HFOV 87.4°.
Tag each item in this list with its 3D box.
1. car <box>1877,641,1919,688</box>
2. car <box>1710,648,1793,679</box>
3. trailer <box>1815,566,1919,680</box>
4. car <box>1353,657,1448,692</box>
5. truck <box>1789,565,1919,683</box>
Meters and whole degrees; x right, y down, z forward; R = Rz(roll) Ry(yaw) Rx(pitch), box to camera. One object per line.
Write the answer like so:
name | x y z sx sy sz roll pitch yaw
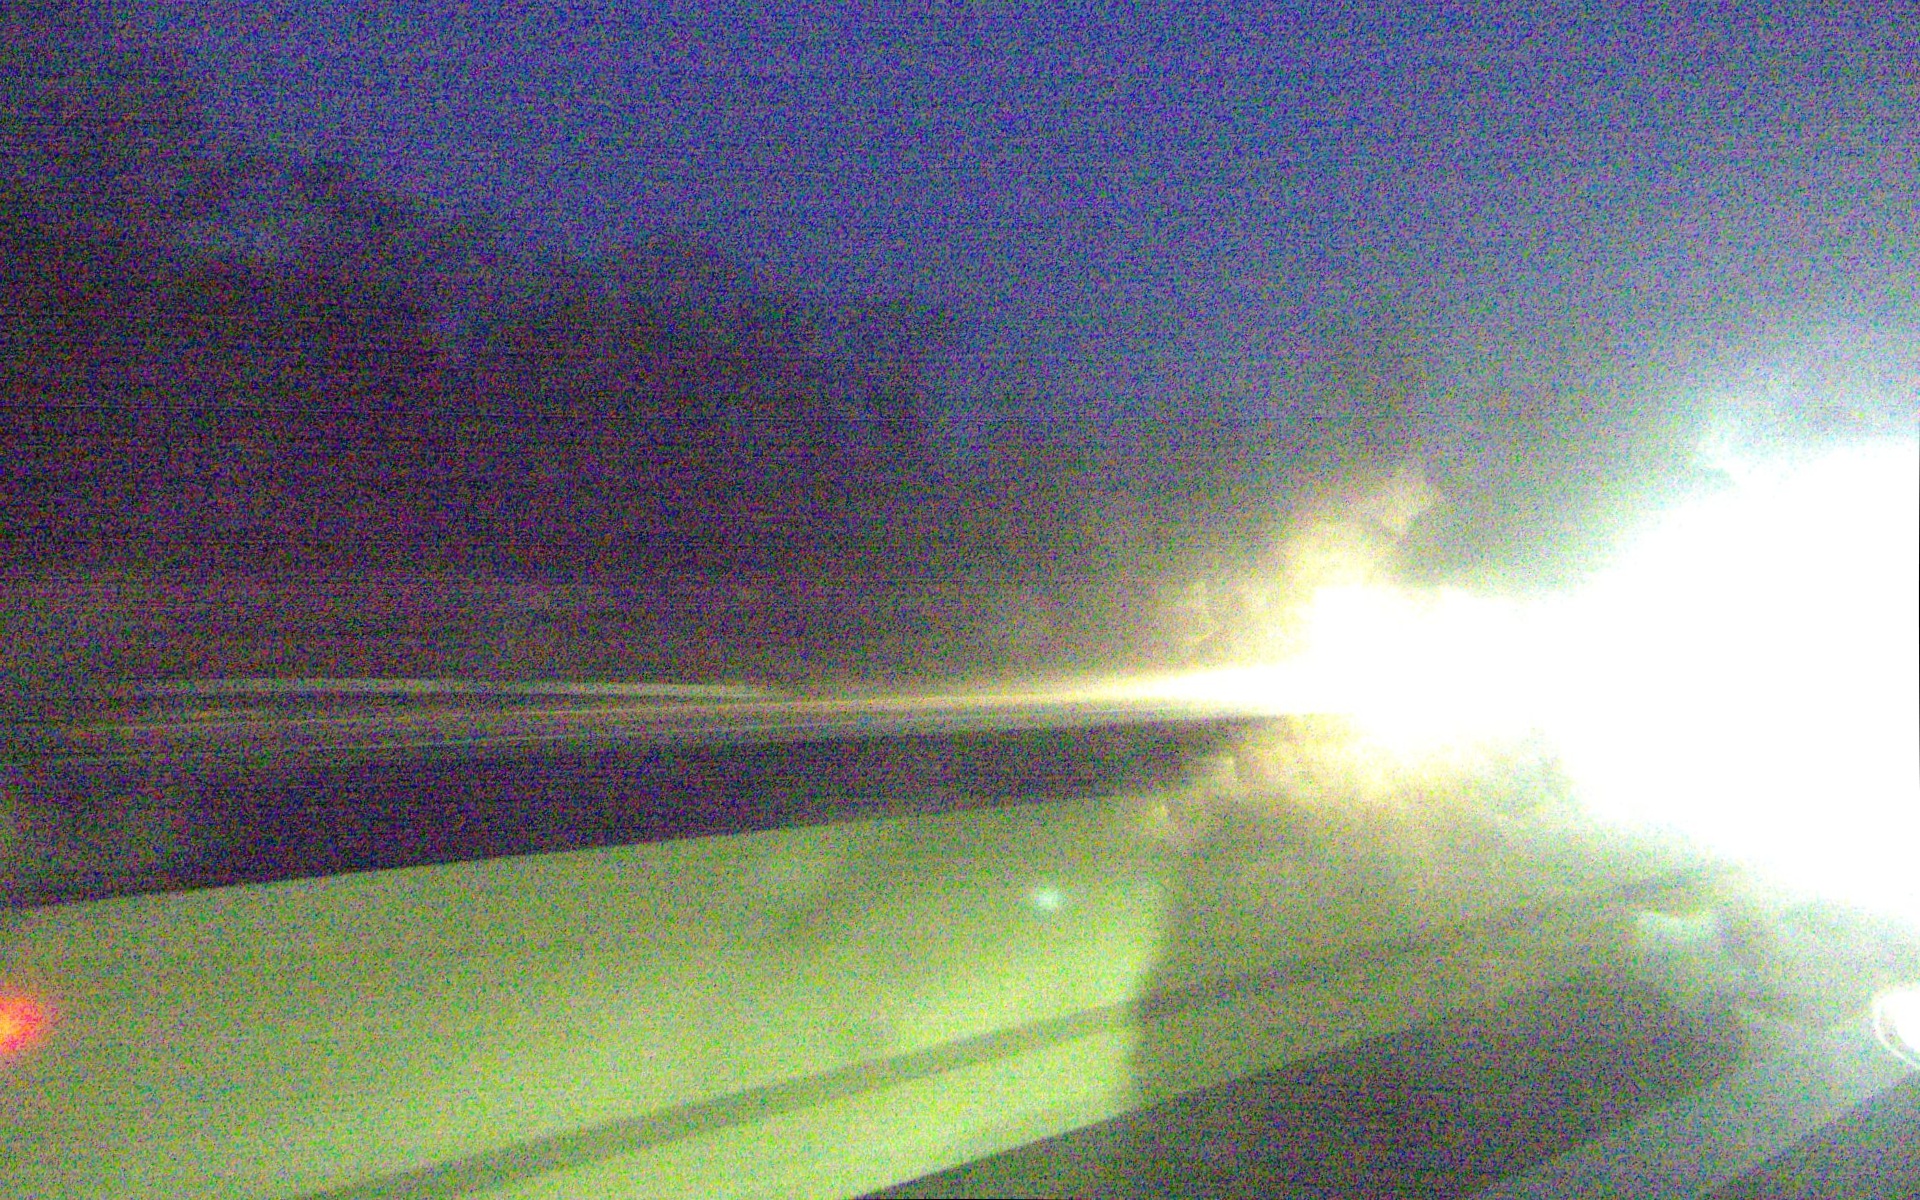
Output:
car | 31.467 2.034 32.204 3.953 1.439 1.984 1 -2 -30
car | 34.311 2.728 43.542 3.639 1.246 1.603 1 -2 -30
trailer | 41.944 1.081 43.424 14.240 4.349 3.034 1 -3 -31
car | 16.153 2.706 36.792 3.500 1.140 1.402 1 -2 -30
truck | 36.278 0.995 40.056 6.012 4.349 3.040 1 -2 -30
